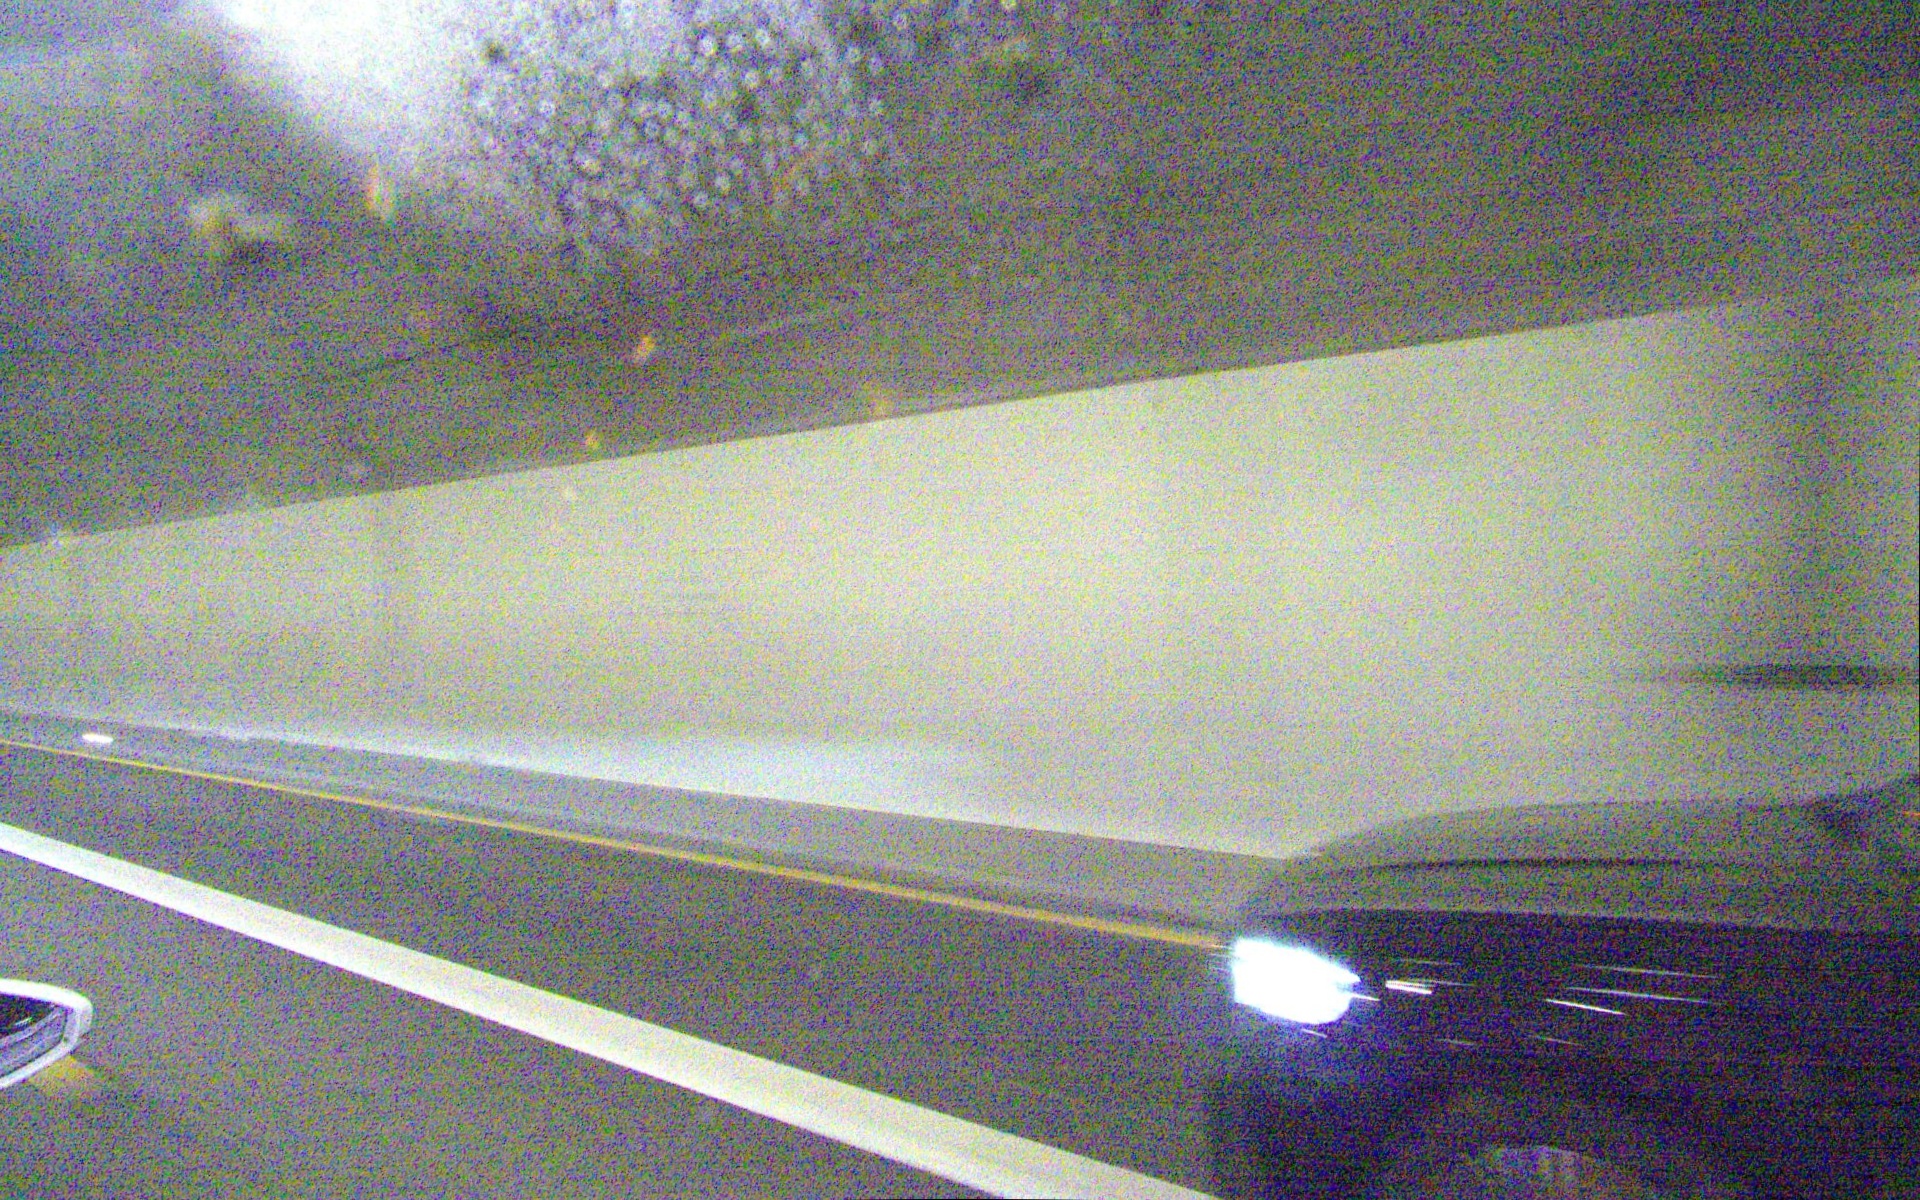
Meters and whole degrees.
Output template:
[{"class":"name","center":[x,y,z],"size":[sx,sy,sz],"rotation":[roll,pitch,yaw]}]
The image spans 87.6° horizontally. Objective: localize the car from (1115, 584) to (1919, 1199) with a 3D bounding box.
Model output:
[{"class":"car","center":[2.897,0.734,1.673],"size":[4.885,1.491,1.922],"rotation":[-1,-2,33]}]
